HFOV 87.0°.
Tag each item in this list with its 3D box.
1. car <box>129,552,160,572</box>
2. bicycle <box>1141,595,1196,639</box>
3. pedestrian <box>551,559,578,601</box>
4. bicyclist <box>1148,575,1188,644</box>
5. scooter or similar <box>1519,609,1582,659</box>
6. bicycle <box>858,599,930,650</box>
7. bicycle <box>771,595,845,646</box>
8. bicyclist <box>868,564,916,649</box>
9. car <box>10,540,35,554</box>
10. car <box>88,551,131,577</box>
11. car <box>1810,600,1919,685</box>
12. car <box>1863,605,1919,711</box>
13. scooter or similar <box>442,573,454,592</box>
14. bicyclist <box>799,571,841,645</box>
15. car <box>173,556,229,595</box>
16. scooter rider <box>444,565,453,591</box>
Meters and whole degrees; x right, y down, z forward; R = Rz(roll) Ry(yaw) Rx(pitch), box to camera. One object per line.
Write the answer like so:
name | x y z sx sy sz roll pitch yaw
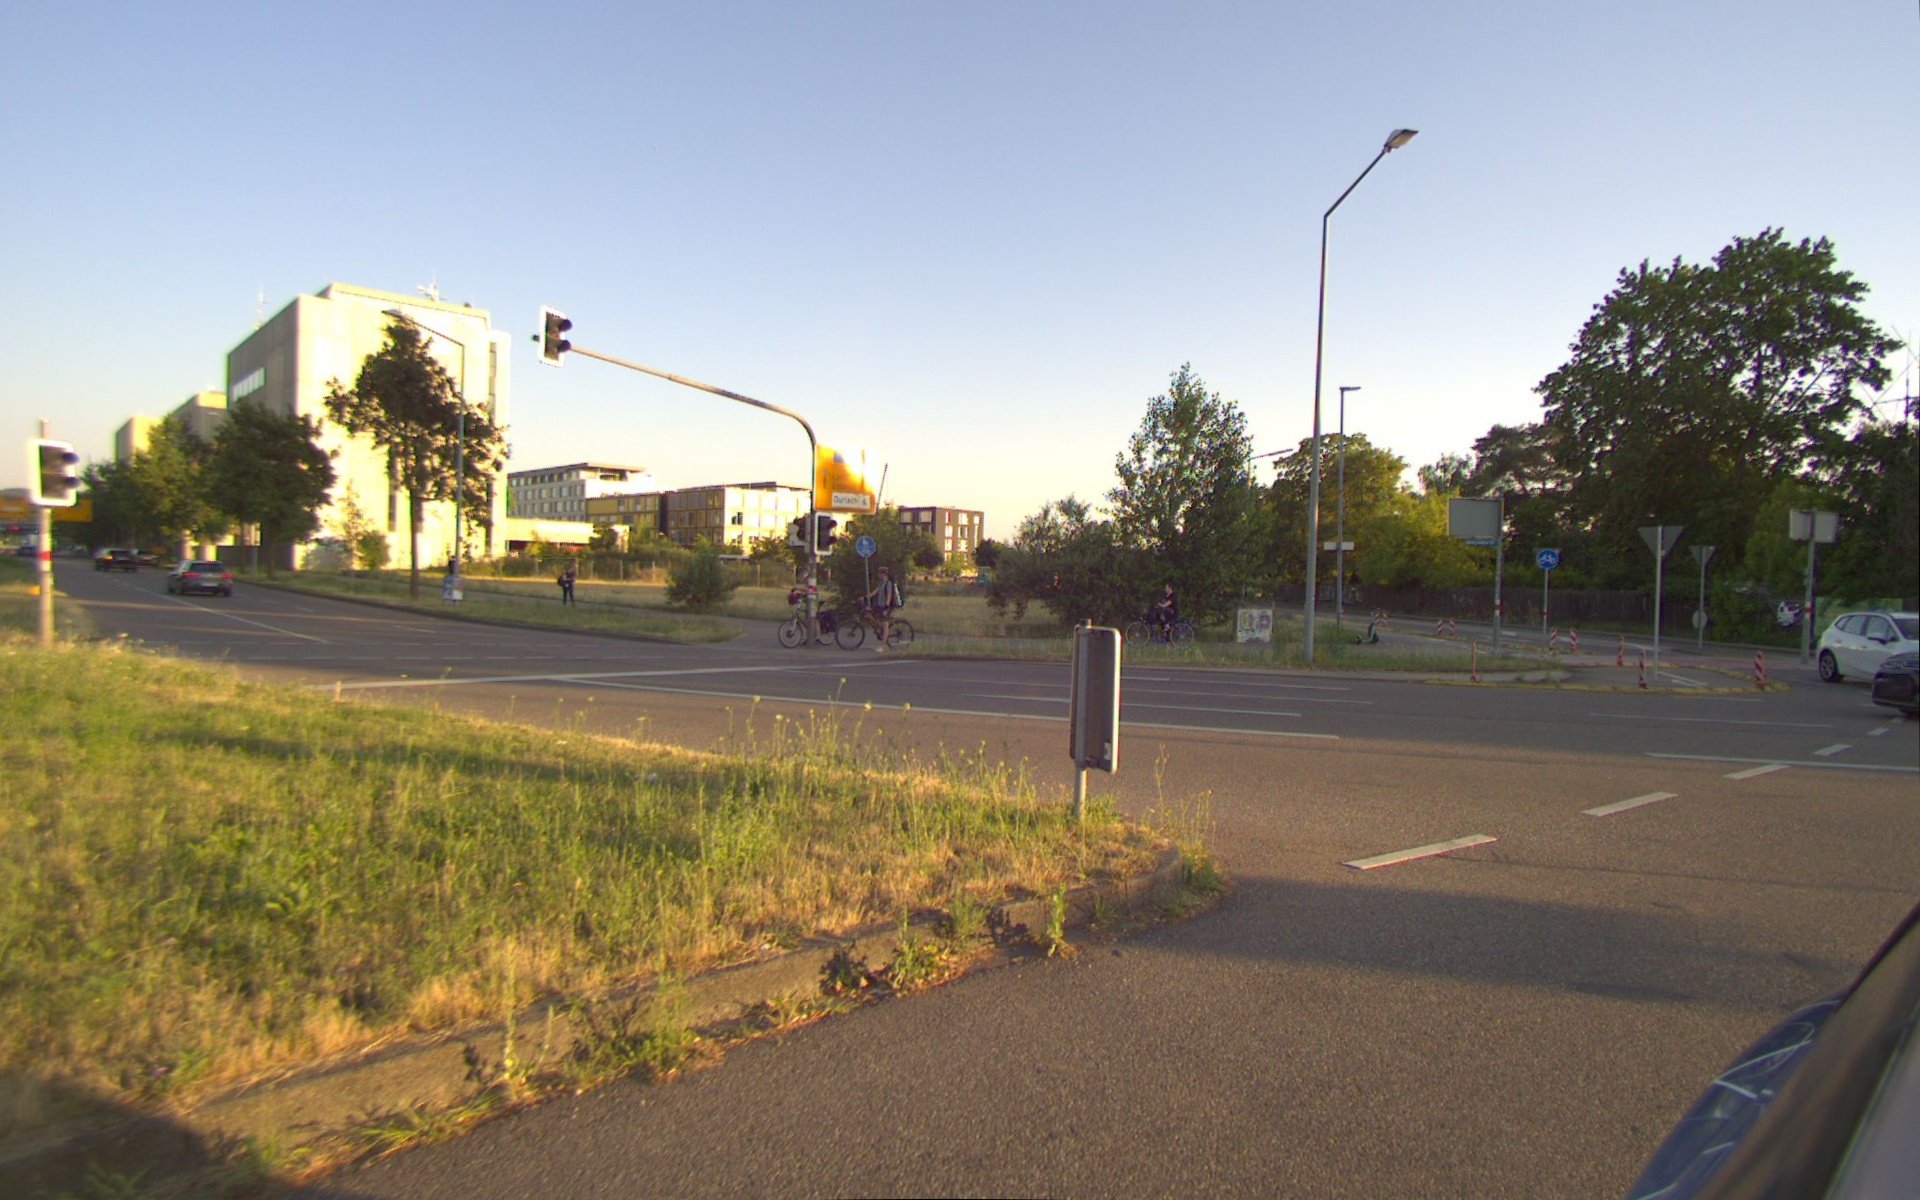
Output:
car | -68.686 -3.209 85.197 1.722 1.507 4.127 1 1 -43
bicycle | 5.465 0.443 26.560 1.344 1.102 0.281 2 1 -7
pedestrian | -15.209 -0.762 38.931 0.784 1.569 0.566 1 1 -45
bicyclist | 5.457 0.234 26.555 0.827 1.765 0.538 2 1 -7
scooter or similar | 14.670 0.838 25.146 1.354 1.177 0.443 2 1 -10
bicycle | -1.520 0.545 23.636 0.455 1.098 1.899 3 3 42
bicycle | -3.625 0.474 24.288 0.455 1.098 1.899 3 4 42
bicyclist | -1.578 0.120 23.533 0.639 1.921 0.896 3 3 42
car | -109.852 -6.246 118.566 3.988 1.489 1.968 3 1 44
car | -57.250 -2.426 68.084 4.123 1.544 1.789 4 2 44
car | 19.542 0.842 20.570 1.865 1.578 4.075 2 1 16
car | 15.658 0.918 14.241 3.939 1.482 1.797 3 1 13
scooter or similar | -27.046 -0.925 53.501 0.243 0.925 1.036 2 1 -44
bicyclist | -3.378 0.170 24.428 0.639 1.722 0.758 3 3 42
car | -31.004 -1.016 41.385 1.719 1.441 4.134 2 2 -37
scooter rider | -27.030 -1.185 53.464 0.260 1.356 0.405 2 1 -45
